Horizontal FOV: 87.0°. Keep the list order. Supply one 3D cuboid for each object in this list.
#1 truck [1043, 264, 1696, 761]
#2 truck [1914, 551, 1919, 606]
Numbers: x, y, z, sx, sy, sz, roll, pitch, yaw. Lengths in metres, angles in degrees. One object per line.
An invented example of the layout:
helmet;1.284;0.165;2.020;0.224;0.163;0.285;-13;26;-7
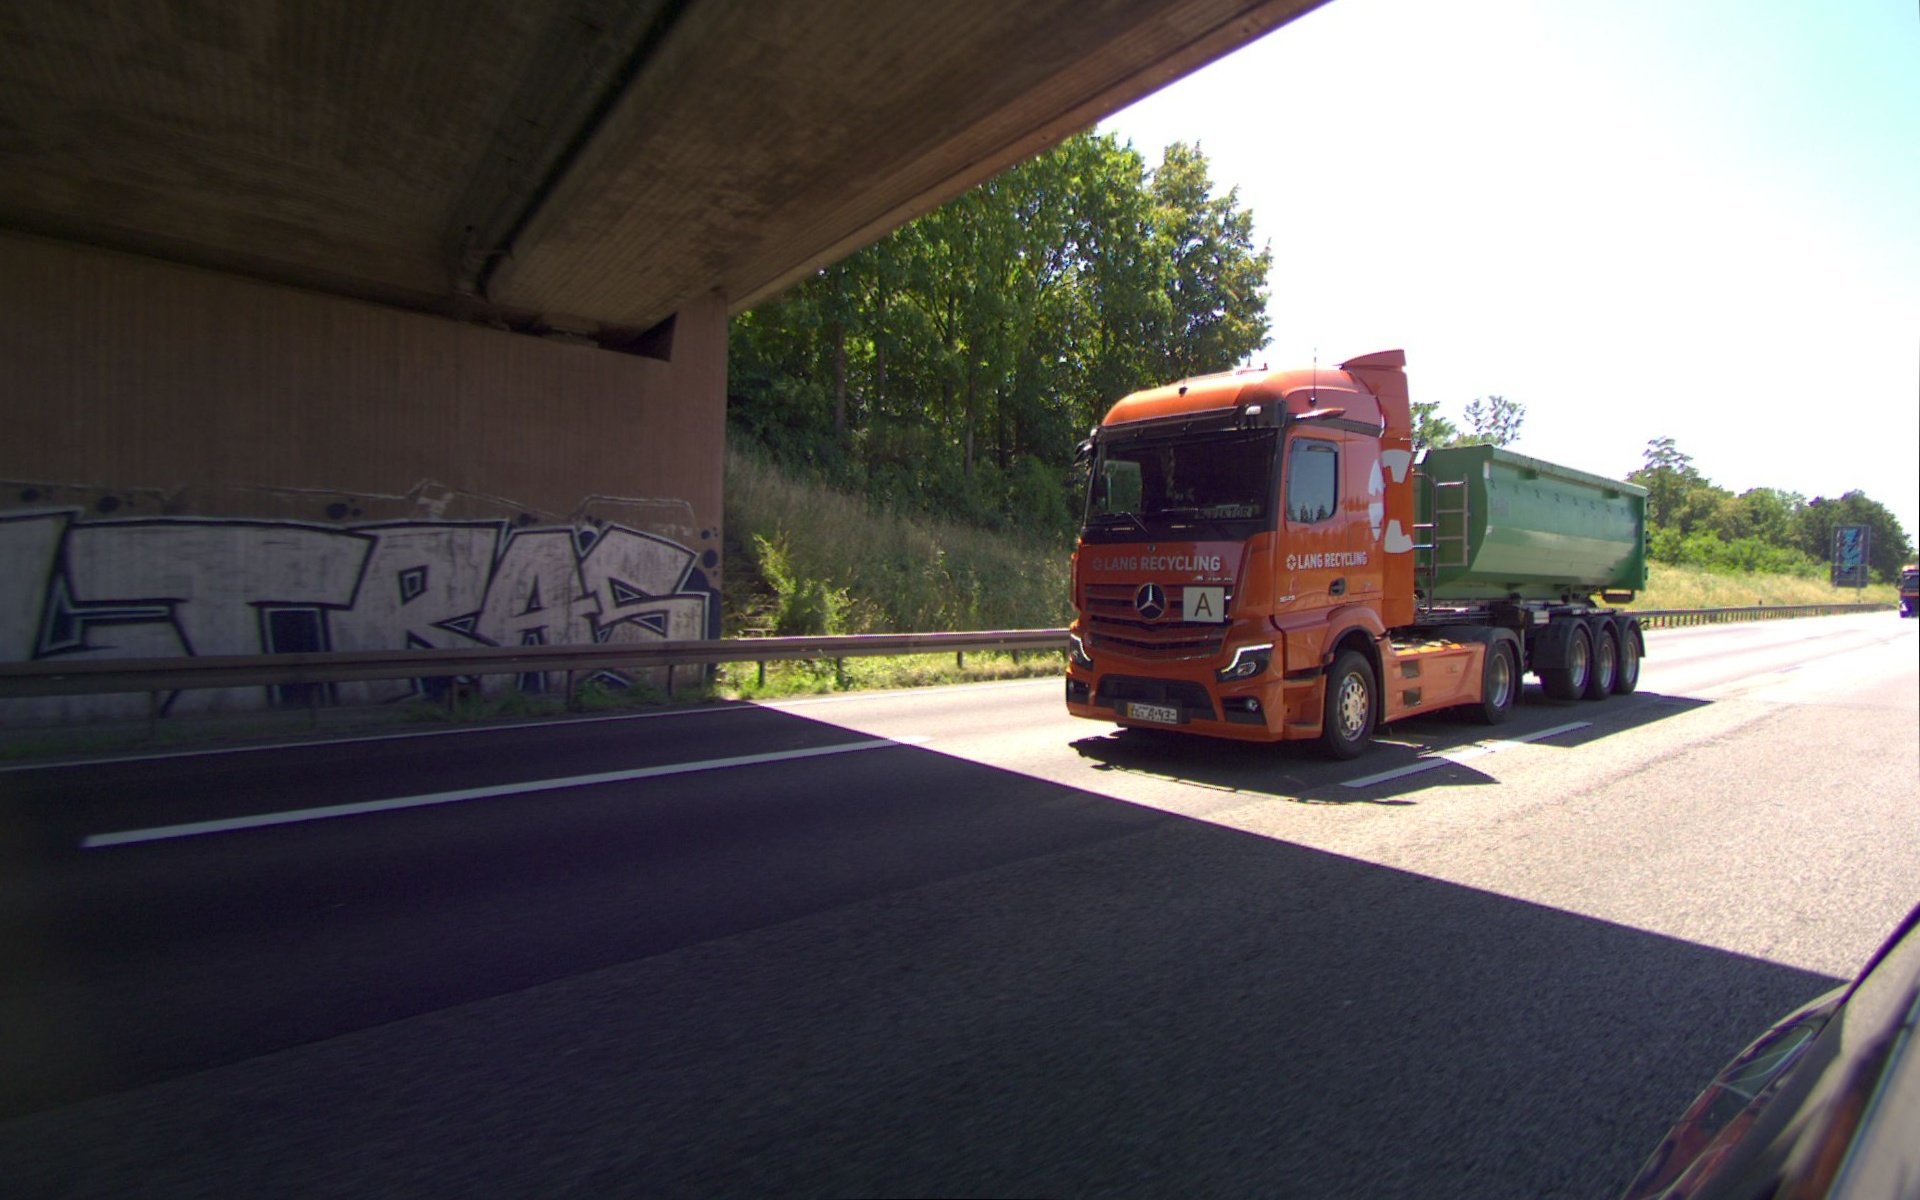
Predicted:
truck;6.243;-0.715;12.953;12.264;3.846;2.685;0;0;-42
truck;68.957;-1.490;70.998;5.994;3.781;2.532;0;0;-42
